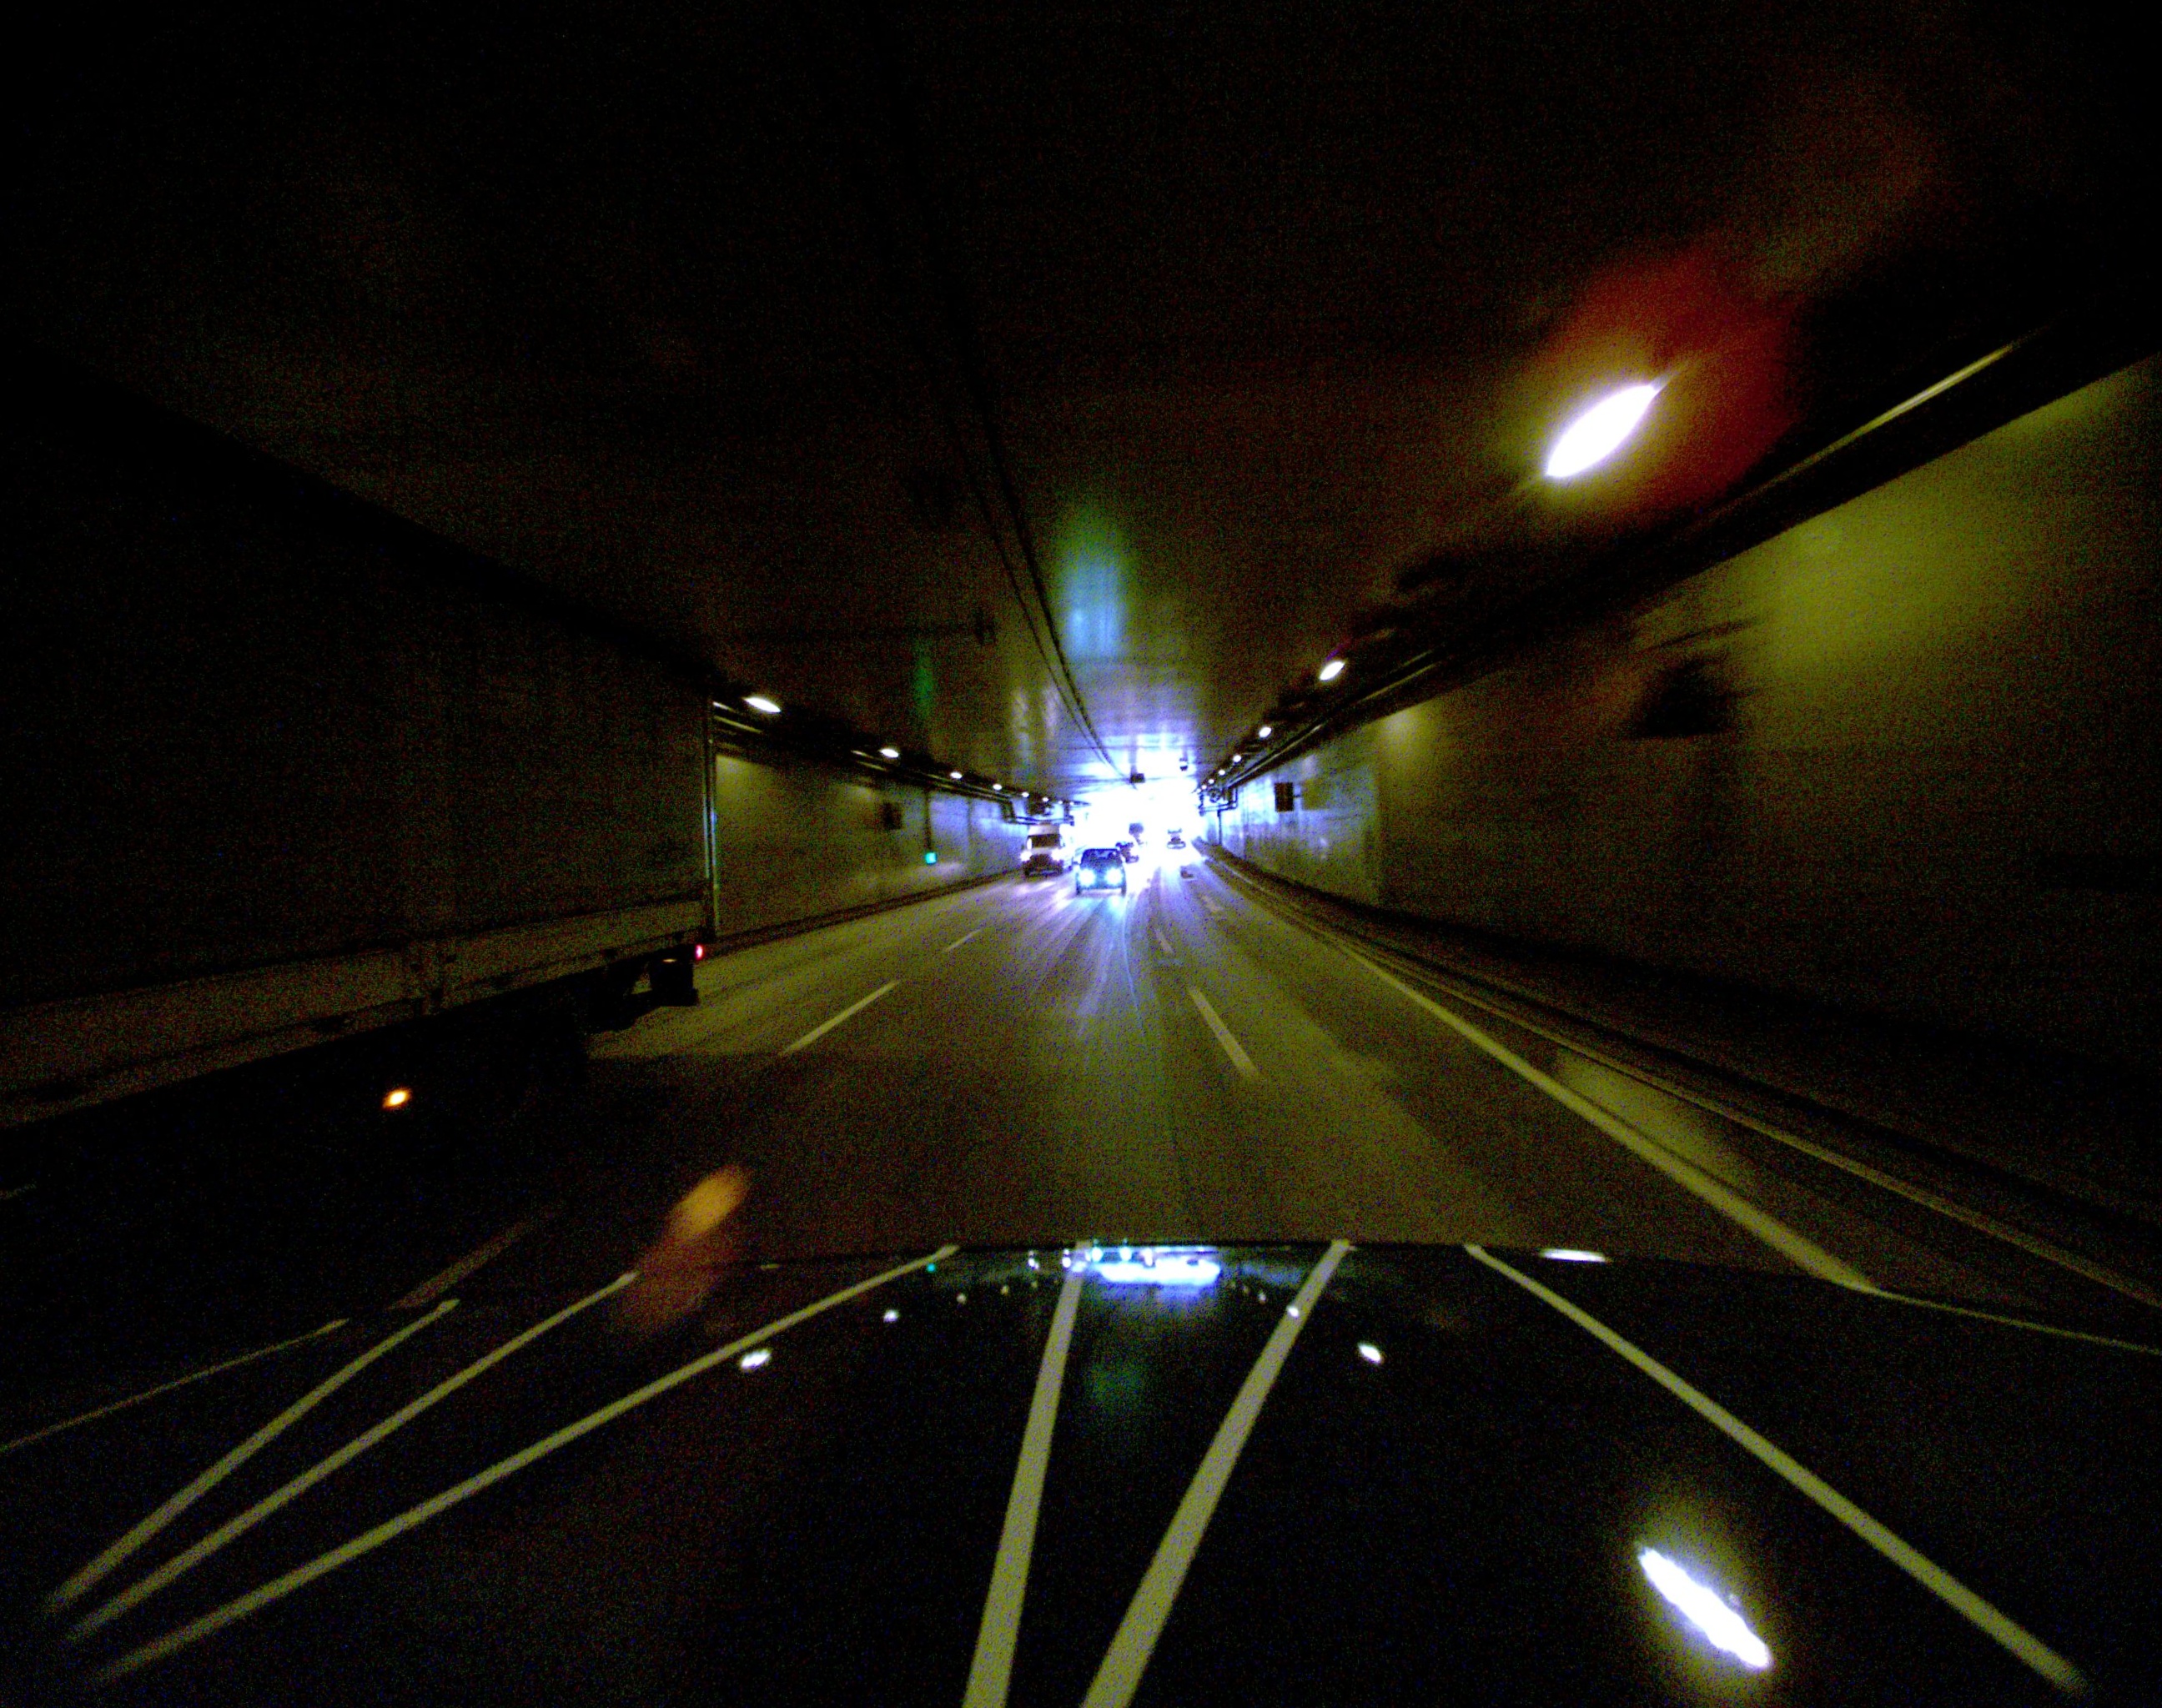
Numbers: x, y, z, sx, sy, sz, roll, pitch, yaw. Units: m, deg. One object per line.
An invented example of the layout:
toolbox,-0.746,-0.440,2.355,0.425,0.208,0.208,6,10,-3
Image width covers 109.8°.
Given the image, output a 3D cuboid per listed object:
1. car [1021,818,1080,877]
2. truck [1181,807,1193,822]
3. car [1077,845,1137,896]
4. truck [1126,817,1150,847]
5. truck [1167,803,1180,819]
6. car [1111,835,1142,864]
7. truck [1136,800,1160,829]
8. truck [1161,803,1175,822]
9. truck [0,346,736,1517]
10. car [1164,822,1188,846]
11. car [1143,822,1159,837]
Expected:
car,-1.531,-0.468,41.067,2.106,2.831,6.861,-3,2,6
truck,21.059,-7.855,150.668,2.137,2.714,5.670,-4,4,9
car,0.963,0.517,26.268,1.638,1.552,3.717,0,2,8
truck,5.638,-2.262,75.160,2.073,2.526,6.020,-5,4,4
truck,20.233,-9.463,165.948,2.492,3.122,6.375,-4,4,9
car,2.974,-0.335,50.363,1.764,1.552,3.817,-5,3,2
truck,11.384,-6.752,128.257,2.885,4.449,10.453,-4,4,10
truck,17.770,-8.547,155.192,2.492,3.371,6.375,-4,4,9
truck,-4.204,0.229,2.649,2.560,3.162,7.245,-2,0,0
car,8.664,-1.812,68.917,1.934,1.919,4.197,-4,3,9
car,8.685,-3.067,94.517,1.638,1.662,3.715,-4,4,9
